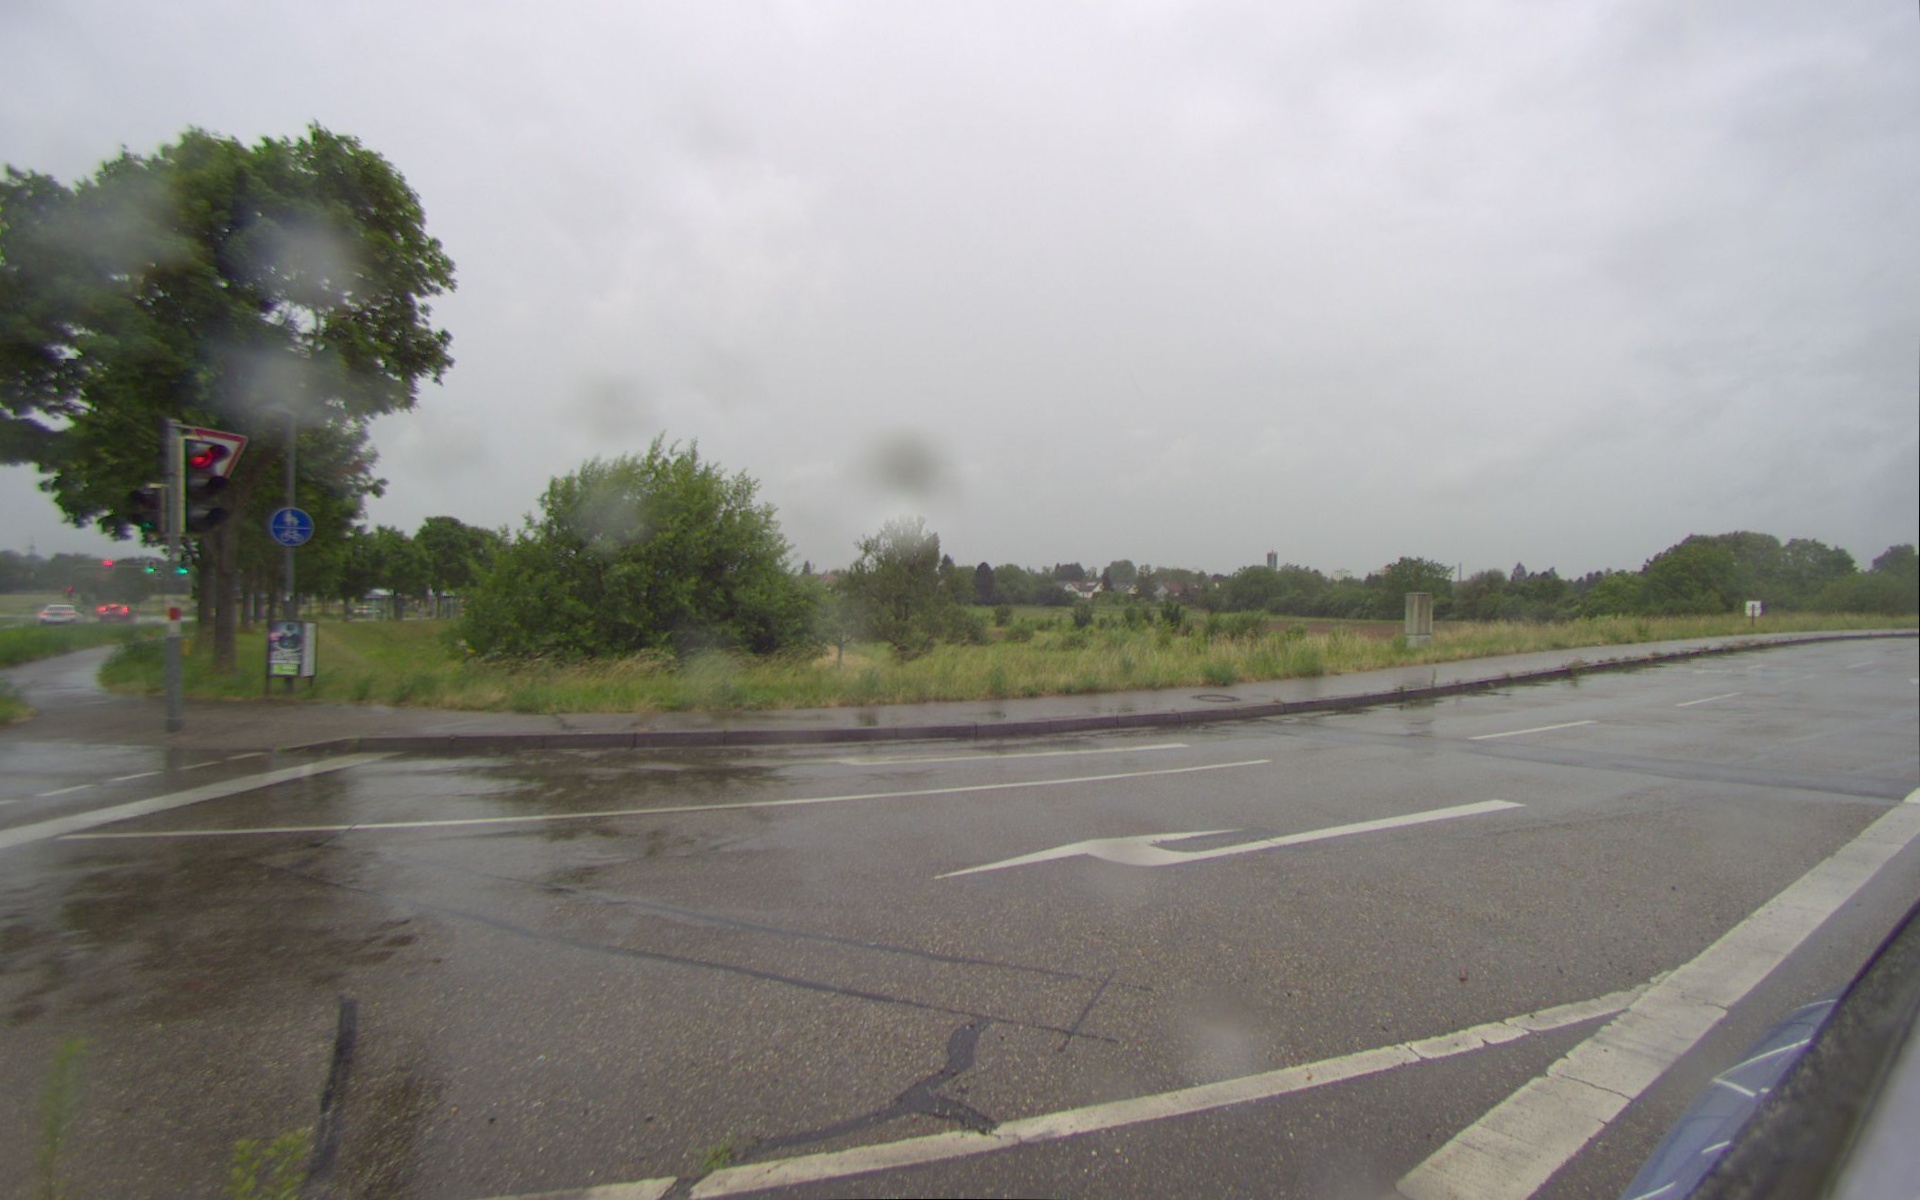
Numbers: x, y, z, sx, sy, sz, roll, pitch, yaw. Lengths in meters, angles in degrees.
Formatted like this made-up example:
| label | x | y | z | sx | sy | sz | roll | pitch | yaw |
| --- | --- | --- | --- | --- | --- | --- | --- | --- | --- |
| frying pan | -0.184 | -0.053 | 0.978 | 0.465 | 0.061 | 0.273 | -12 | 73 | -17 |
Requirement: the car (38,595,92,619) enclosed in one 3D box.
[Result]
| label | x | y | z | sx | sy | sz | roll | pitch | yaw |
| --- | --- | --- | --- | --- | --- | --- | --- | --- | --- |
| car | -55.705 | 0.419 | 63.044 | 1.843 | 1.371 | 4.055 | 0 | 1 | -32 |

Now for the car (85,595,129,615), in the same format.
| label | x | y | z | sx | sy | sz | roll | pitch | yaw |
| --- | --- | --- | --- | --- | --- | --- | --- | --- | --- |
| car | -62.831 | 0.353 | 74.600 | 1.843 | 1.371 | 4.055 | 0 | 1 | -32 |
